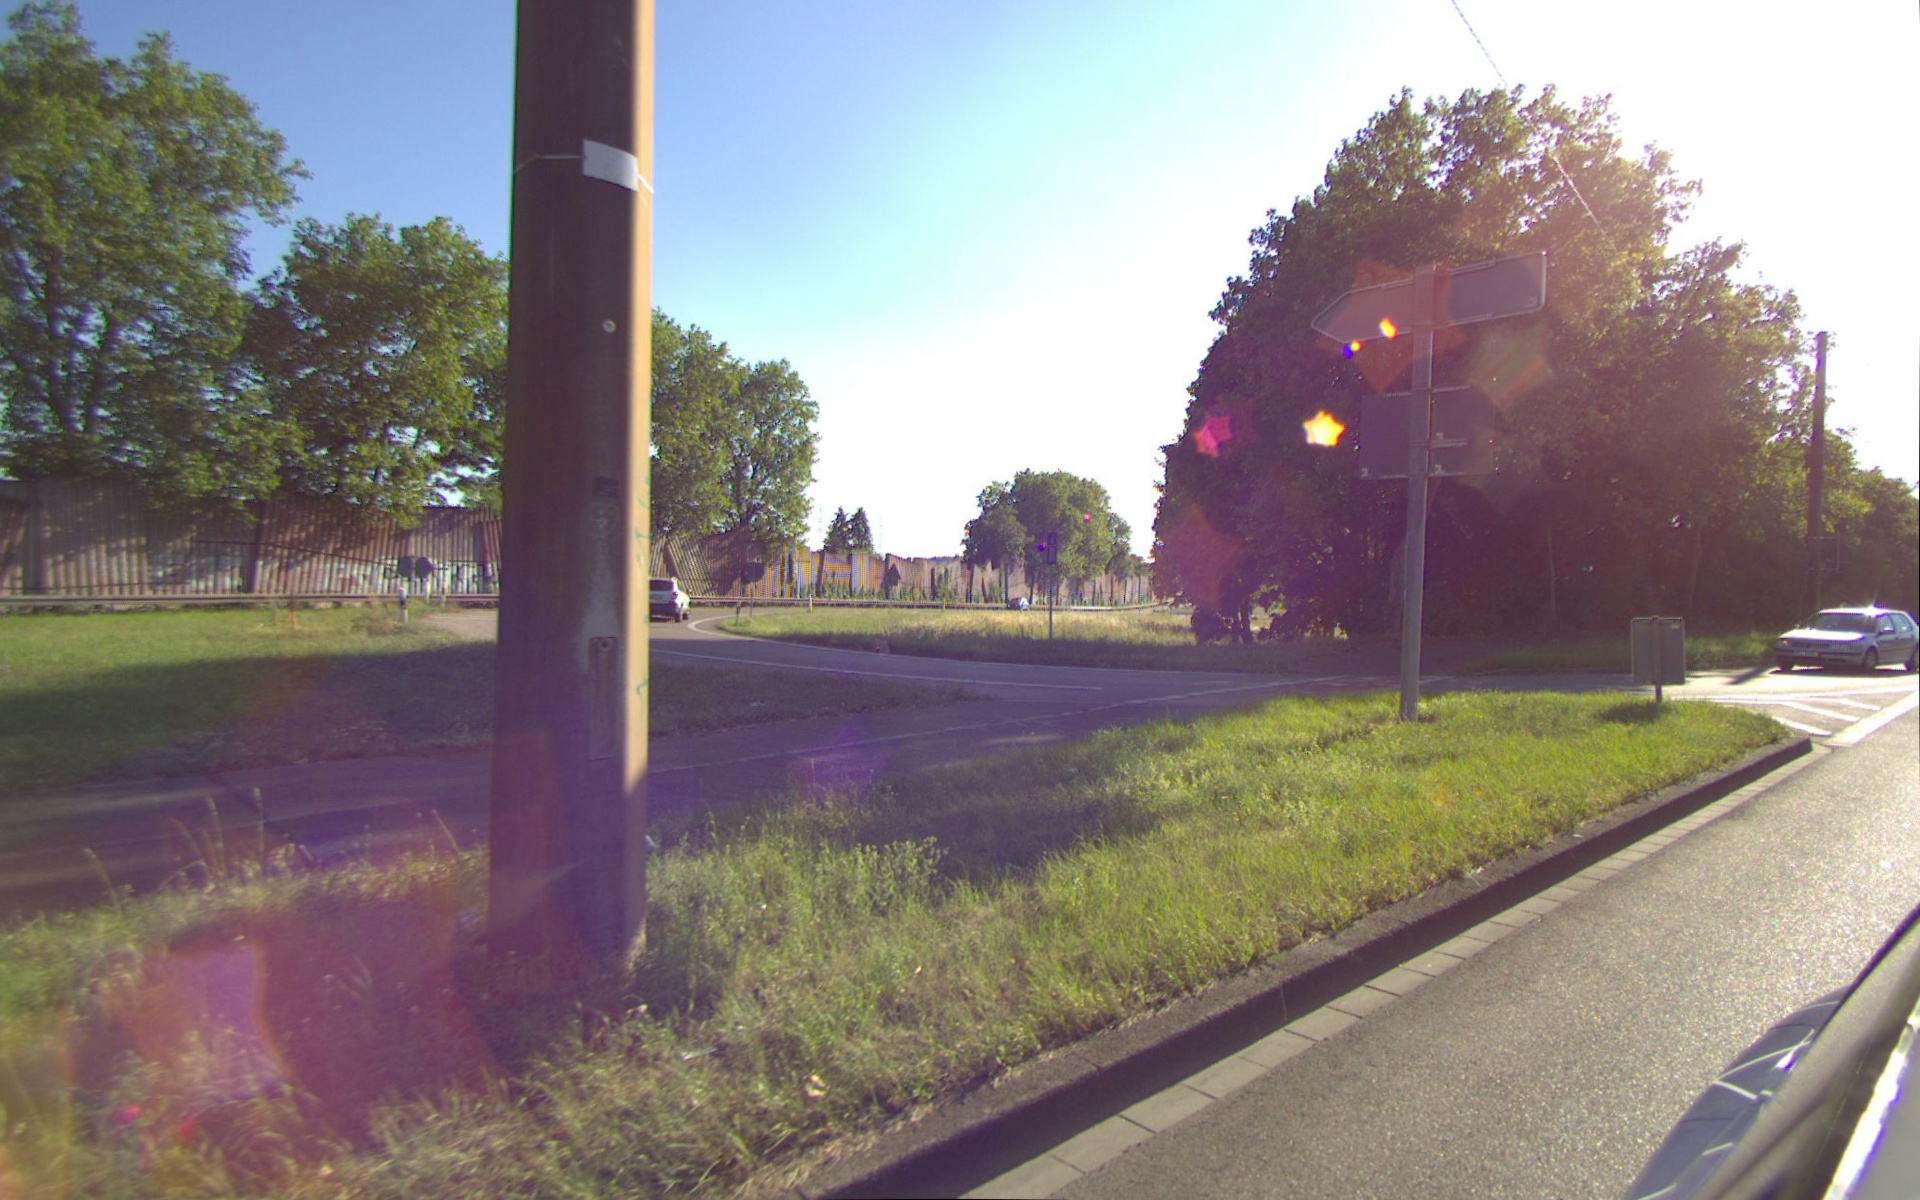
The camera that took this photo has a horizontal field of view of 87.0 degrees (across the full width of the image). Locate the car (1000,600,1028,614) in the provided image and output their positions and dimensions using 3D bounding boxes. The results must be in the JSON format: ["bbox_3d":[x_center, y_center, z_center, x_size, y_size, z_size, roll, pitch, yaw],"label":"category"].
[{"bbox_3d":[5.924,0.787,111.315,1.778,1.458,4.191,1,1,23],"label":"car"}]

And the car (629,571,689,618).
[{"bbox_3d":[-12.074,-0.245,40.805,1.778,1.795,3.868,0,1,-8],"label":"car"}]

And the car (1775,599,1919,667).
[{"bbox_3d":[21.025,0.721,23.553,4.050,1.435,1.697,0,1,-27],"label":"car"}]

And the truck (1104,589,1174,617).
[{"bbox_3d":[28.751,0.460,162.765,10.484,3.536,2.634,6,3,21],"label":"truck"}]
